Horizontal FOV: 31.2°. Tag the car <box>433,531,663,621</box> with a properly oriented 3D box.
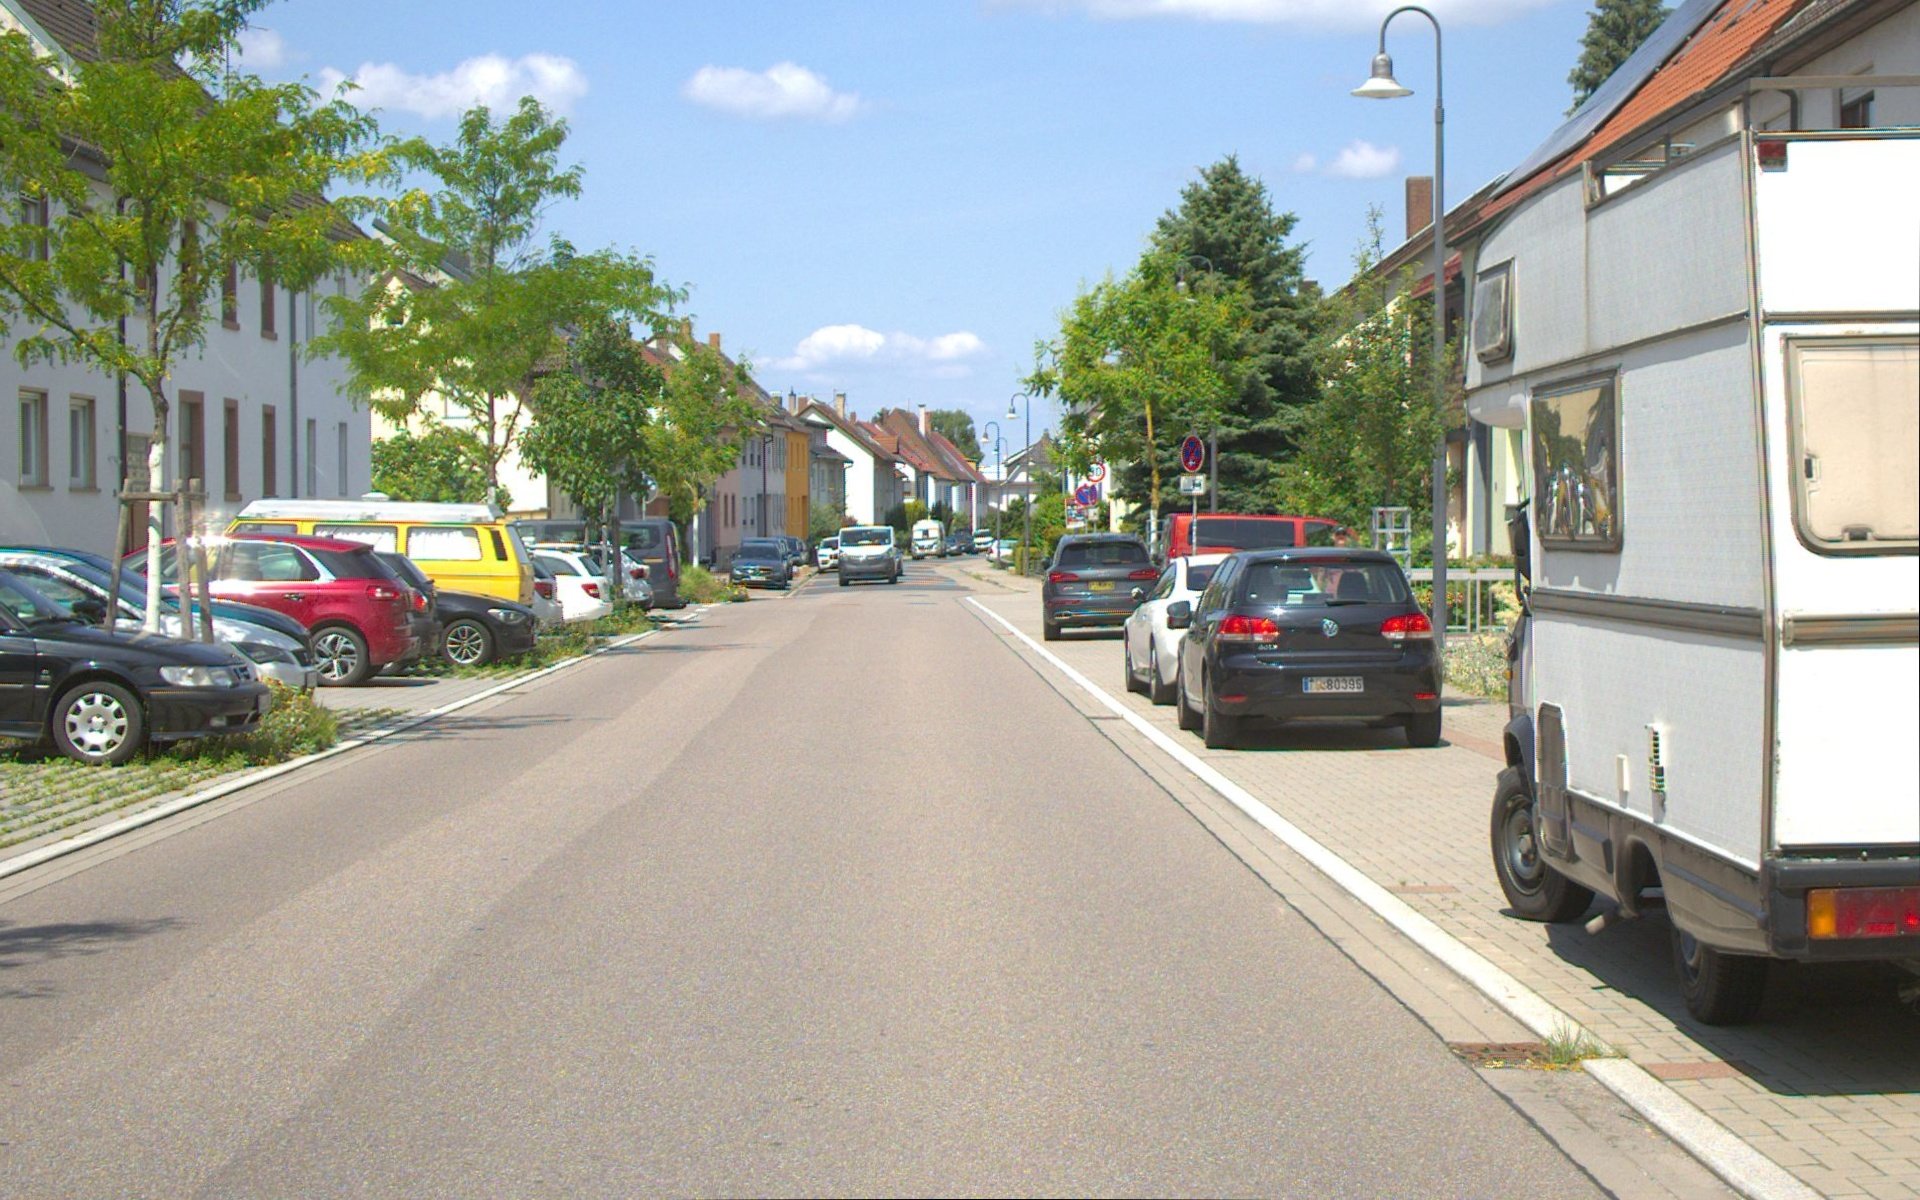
[{"bbox_3d":[-7.697,-0.451,64.550,4.182,1.563,1.774,1,0,-4],"label":"car"}]

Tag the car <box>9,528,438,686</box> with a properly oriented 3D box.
[{"bbox_3d":[-7.915,0.061,37.213,4.253,1.606,1.843,1,1,-1],"label":"car"}]

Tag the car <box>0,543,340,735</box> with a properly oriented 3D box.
[{"bbox_3d":[-7.208,0.285,27.978,4.053,1.473,1.776,1,1,-3],"label":"car"}]

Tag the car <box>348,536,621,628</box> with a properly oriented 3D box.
[{"bbox_3d":[-7.945,-0.299,57.669,4.295,1.463,1.774,1,0,1],"label":"car"}]

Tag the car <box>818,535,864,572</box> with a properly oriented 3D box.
[{"bbox_3d":[-5.567,-2.171,161.288,1.850,1.653,4.000,2,1,2],"label":"car"}]

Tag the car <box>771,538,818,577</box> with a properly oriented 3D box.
[{"bbox_3d":[-7.115,-1.844,148.280,1.810,1.603,4.000,2,1,0],"label":"car"}]

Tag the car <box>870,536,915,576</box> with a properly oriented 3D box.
[{"bbox_3d":[-2.749,-1.791,139.155,1.762,1.517,4.049,-2,1,-2],"label":"car"}]

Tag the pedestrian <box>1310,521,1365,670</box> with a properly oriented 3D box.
[{"bbox_3d":[4.445,-0.054,40.466,0.557,1.743,0.673,-1,0,0],"label":"pedestrian"}]

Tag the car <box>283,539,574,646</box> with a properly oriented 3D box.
[{"bbox_3d":[-7.664,-0.122,49.657,4.070,1.463,1.754,1,1,-9],"label":"car"}]

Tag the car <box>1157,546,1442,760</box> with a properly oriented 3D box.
[{"bbox_3d":[2.540,0.349,26.558,1.767,1.524,4.007,0,1,0],"label":"car"}]

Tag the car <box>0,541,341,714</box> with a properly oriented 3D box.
[{"bbox_3d":[-7.916,0.217,31.013,4.403,1.473,1.776,1,1,-4],"label":"car"}]

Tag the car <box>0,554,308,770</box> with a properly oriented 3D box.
[{"bbox_3d":[-7.003,0.388,24.092,4.524,1.421,1.796,1,1,-1],"label":"car"}]

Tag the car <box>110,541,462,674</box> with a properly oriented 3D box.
[{"bbox_3d":[-7.799,0.069,40.032,3.791,1.454,1.755,1,1,-3],"label":"car"}]

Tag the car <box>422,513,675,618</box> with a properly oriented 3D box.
[{"bbox_3d":[-8.010,-0.665,67.300,4.700,1.916,1.938,1,0,-1],"label":"car"}]

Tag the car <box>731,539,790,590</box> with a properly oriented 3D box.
[{"bbox_3d":[-6.506,-1.160,112.167,1.816,1.428,4.140,4,2,-3],"label":"car"}]

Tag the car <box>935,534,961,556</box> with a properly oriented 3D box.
[{"bbox_3d":[-0.857,-4.058,253.206,1.691,1.498,3.771,1,0,3],"label":"car"}]

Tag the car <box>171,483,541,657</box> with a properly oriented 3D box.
[{"bbox_3d":[-7.878,-0.399,45.124,4.508,2.170,1.925,1,1,-1],"label":"car"}]

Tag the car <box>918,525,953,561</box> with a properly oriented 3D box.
[{"bbox_3d":[-1.620,-3.809,230.937,2.045,2.304,3.771,1,0,3],"label":"car"}]

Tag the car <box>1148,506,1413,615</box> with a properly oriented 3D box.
[{"bbox_3d":[5.884,-0.715,63.539,4.618,1.887,2.021,1,0,-2],"label":"car"}]

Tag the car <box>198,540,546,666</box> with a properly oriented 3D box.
[{"bbox_3d":[-7.233,0.023,42.567,4.009,1.454,1.755,1,1,-1],"label":"car"}]

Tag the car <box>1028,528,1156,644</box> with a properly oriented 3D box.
[{"bbox_3d":[2.031,-0.254,53.690,1.864,1.630,4.446,-2,2,2],"label":"car"}]

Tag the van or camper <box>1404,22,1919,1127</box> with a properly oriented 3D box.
[{"bbox_3d":[3.192,-0.150,11.653,2.473,2.800,5.791,-1,1,-1],"label":"van or camper"}]

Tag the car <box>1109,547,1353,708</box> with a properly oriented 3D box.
[{"bbox_3d":[2.582,0.219,33.776,1.832,1.460,4.520,0,1,-3],"label":"car"}]

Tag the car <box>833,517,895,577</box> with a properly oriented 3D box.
[{"bbox_3d":[-3.196,-1.738,114.454,2.022,1.943,4.899,0,0,-2],"label":"car"}]

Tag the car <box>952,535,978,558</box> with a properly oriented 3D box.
[{"bbox_3d":[0.373,-4.079,260.684,1.691,1.654,3.771,1,0,3],"label":"car"}]
